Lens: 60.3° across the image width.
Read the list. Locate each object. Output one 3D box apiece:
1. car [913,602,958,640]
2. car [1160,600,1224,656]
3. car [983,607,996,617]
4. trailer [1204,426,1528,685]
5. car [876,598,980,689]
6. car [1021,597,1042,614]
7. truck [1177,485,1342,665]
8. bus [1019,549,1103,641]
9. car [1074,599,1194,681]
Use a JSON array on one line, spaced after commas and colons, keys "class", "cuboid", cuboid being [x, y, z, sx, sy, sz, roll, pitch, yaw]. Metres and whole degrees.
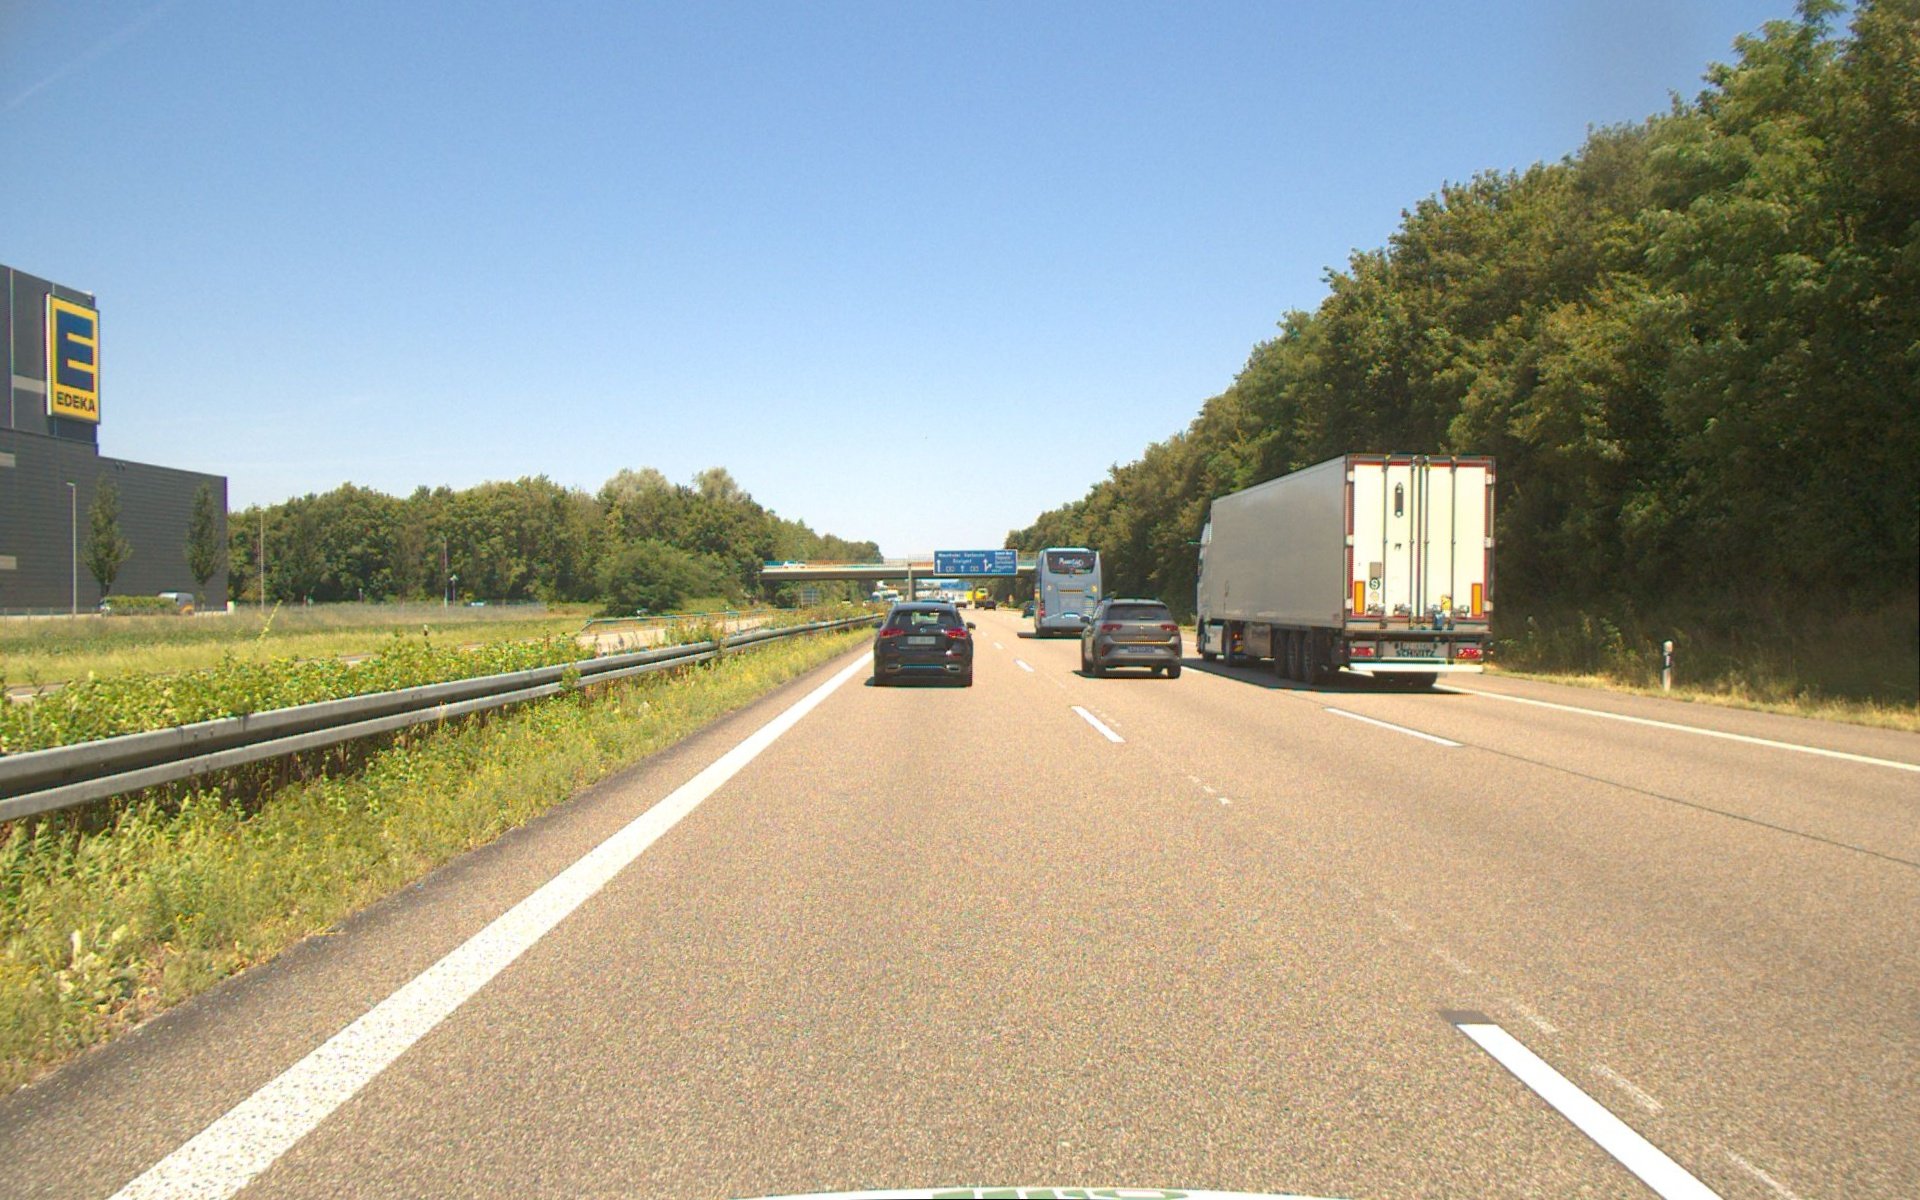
[{"class": "car", "cuboid": [-1.074, 0.898, 71.213, 1.861, 1.559, 4.240, 0, 0, -2]}, {"class": "car", "cuboid": [9.365, 1.101, 67.099, 1.861, 2.157, 4.240, 0, 0, -2]}, {"class": "car", "cuboid": [4.607, 1.885, 260.446, 2.038, 1.559, 4.241, 0, 0, 0]}, {"class": "trailer", "cuboid": [7.804, -0.737, 34.529, 2.978, 4.298, 13.830, 1, 0, -2]}, {"class": "car", "cuboid": [-0.598, 0.737, 30.258, 1.763, 1.528, 4.240, 0, 0, -2]}, {"class": "car", "cuboid": [6.392, 0.503, 148.521, 1.753, 1.487, 3.949, 0, 0, 0]}, {"class": "truck", "cuboid": [7.576, -0.600, 42.654, 2.986, 4.289, 6.046, 1, 0, -2]}, {"class": "bus", "cuboid": [4.240, -0.173, 71.691, 2.745, 3.659, 12.472, 0, 0, -1]}, {"class": "car", "cuboid": [3.535, 0.773, 34.361, 1.861, 1.559, 4.758, 0, 0, -2]}]
